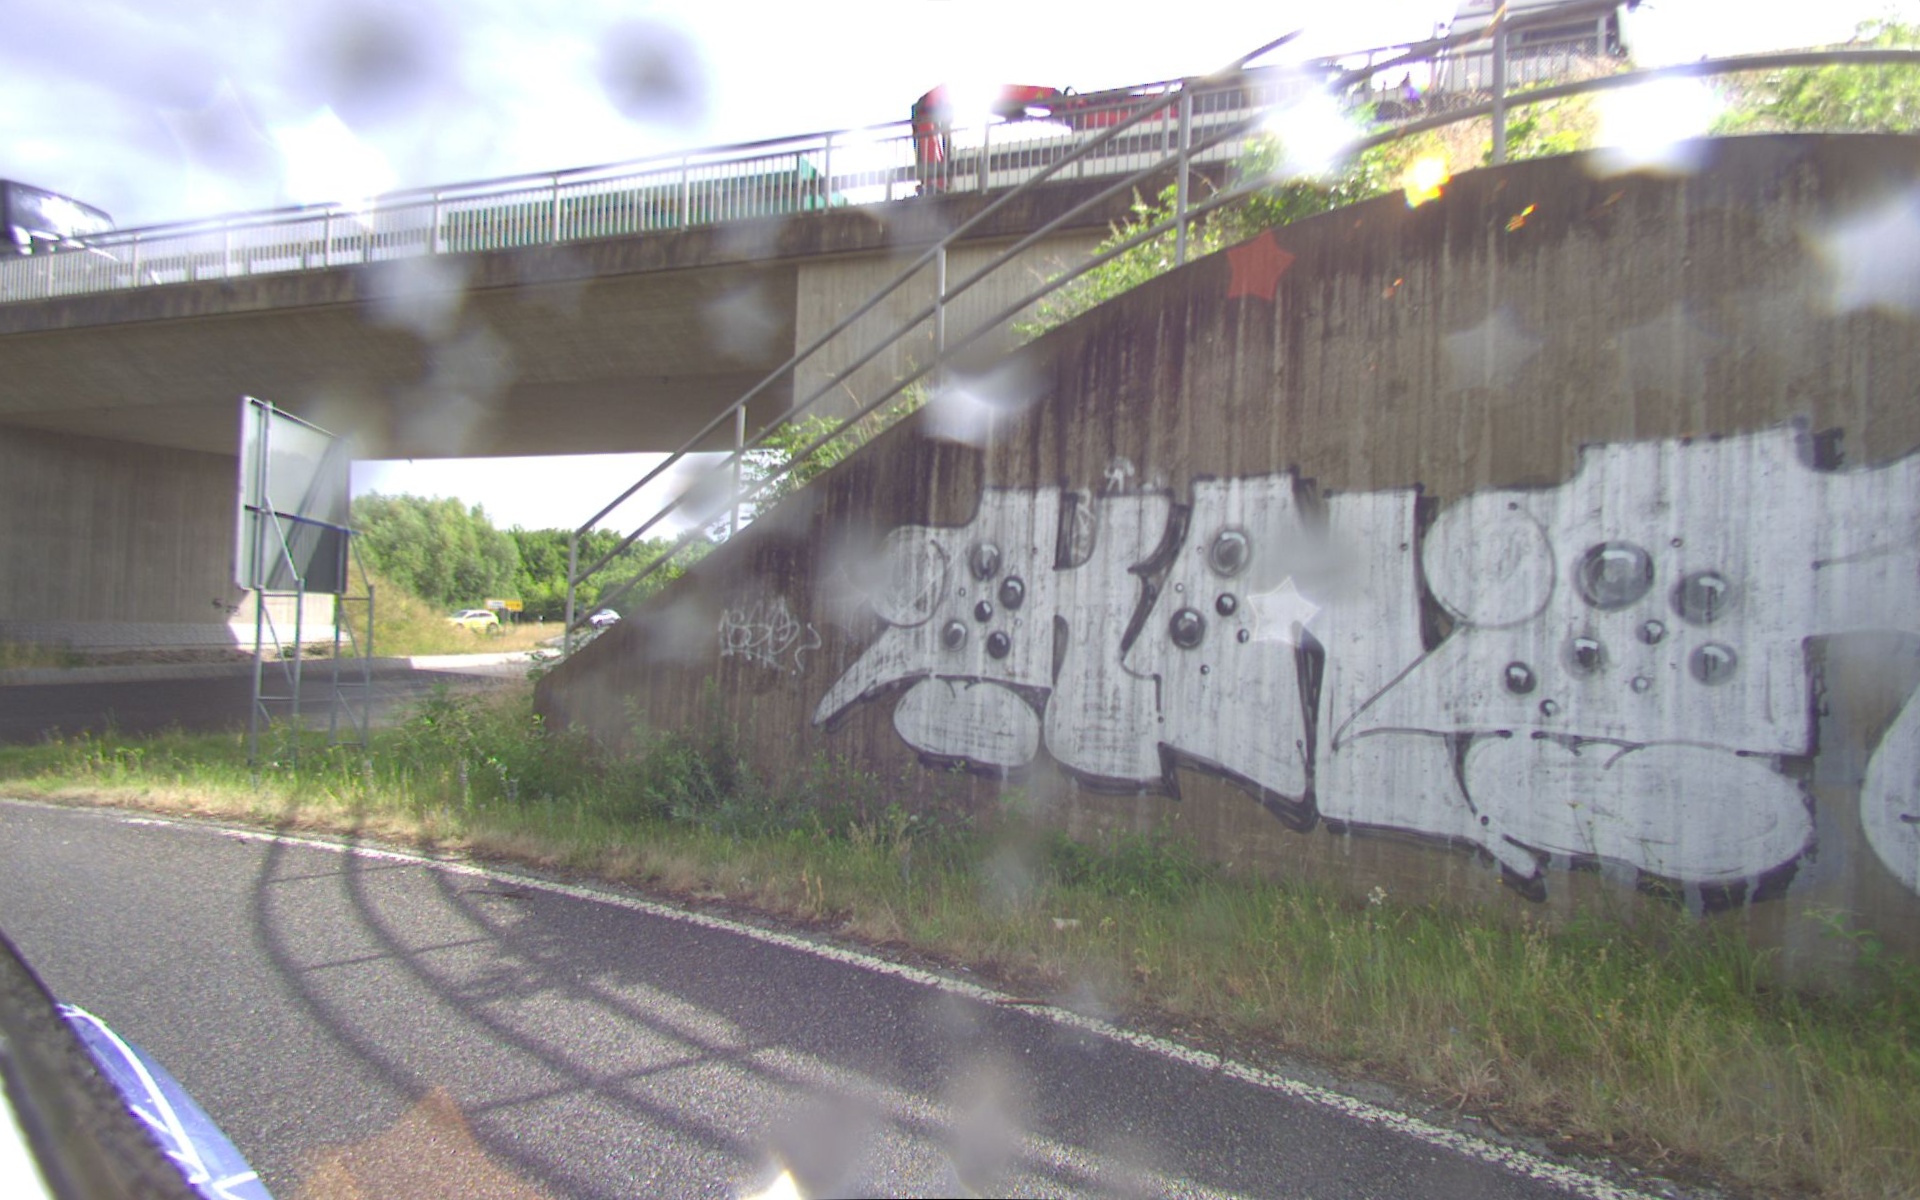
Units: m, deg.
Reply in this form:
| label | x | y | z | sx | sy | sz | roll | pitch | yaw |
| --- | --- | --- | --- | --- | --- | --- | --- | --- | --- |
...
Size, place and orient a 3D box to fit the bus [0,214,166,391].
| label | x | y | z | sx | sy | sz | roll | pitch | yaw |
| --- | --- | --- | --- | --- | --- | --- | --- | --- | --- |
| bus | -25.919 | -6.779 | 24.160 | 14.321 | 3.103 | 2.602 | 2 | 0 | 13 |
